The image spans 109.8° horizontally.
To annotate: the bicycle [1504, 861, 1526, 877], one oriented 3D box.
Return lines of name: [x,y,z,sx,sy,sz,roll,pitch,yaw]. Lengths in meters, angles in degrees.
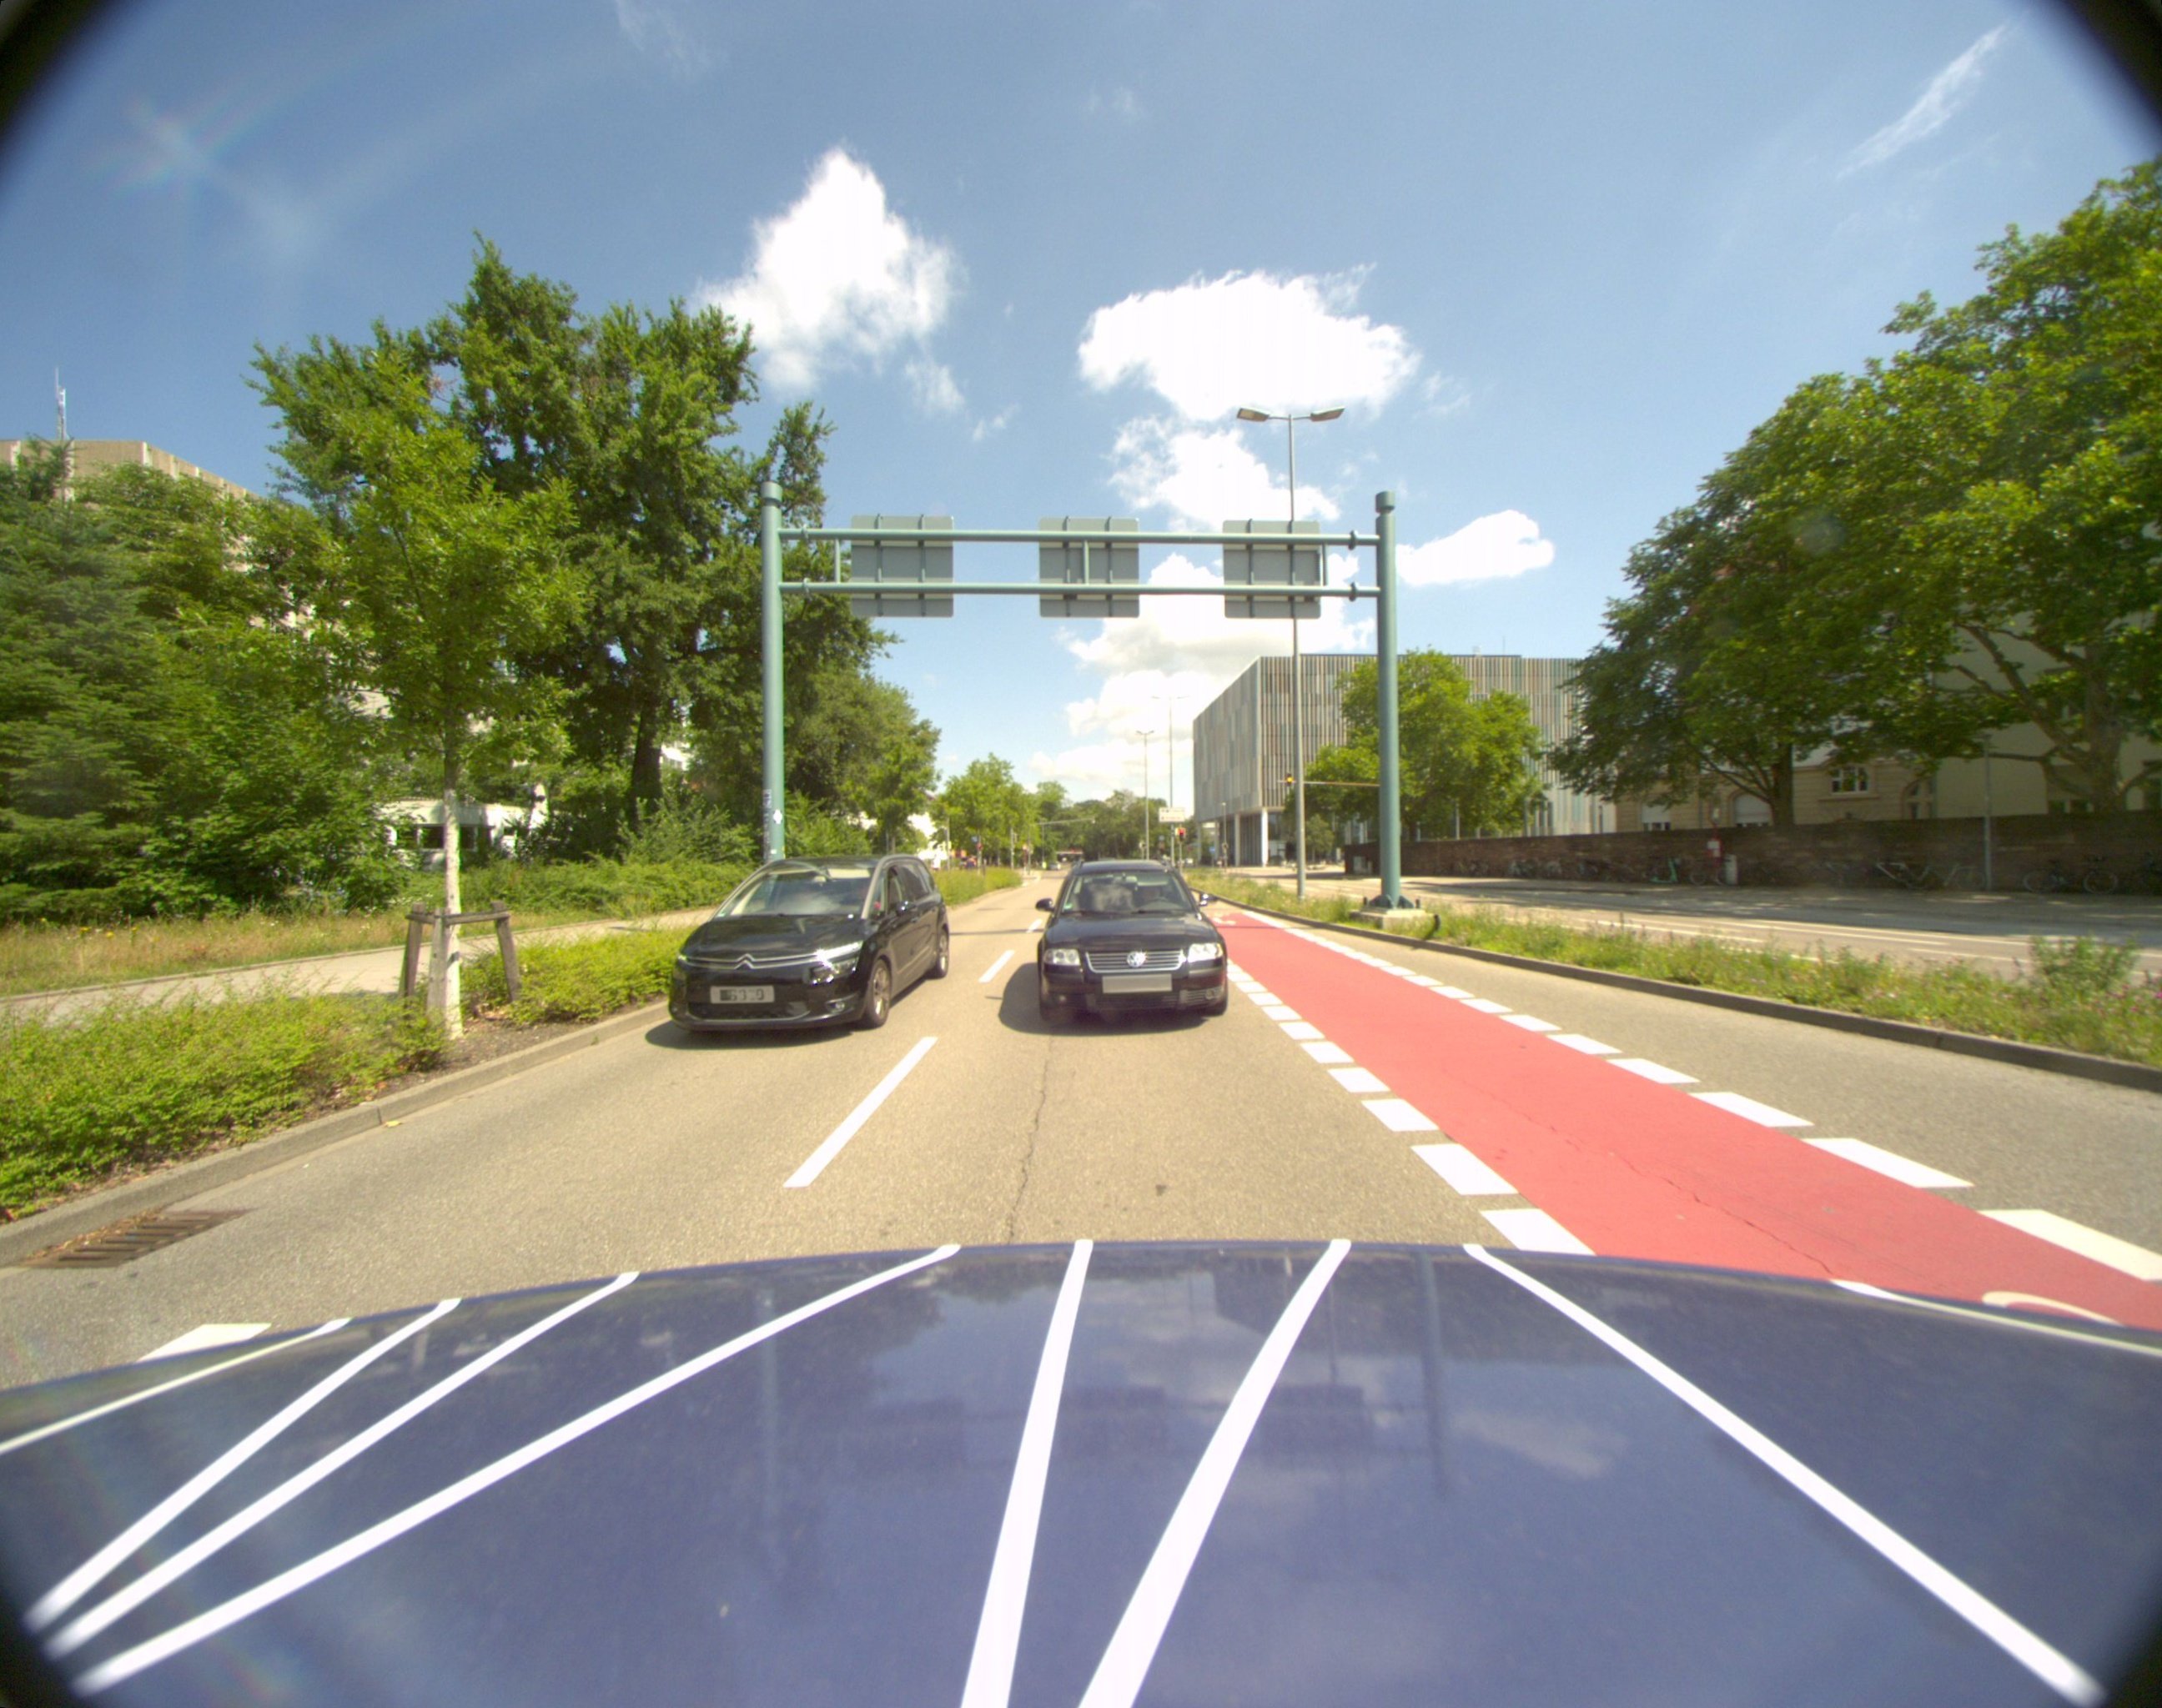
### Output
bicycle: [22.871,0.802,40.083,0.265,0.826,1.234,-1,0,-11]

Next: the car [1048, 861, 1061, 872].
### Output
car: [-4.310,1.954,122.133,1.816,1.598,4.479,-3,0,1]

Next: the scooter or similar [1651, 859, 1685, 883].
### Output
scooter or similar: [24.583,0.704,31.847,0.266,1.014,1.140,-1,0,-22]

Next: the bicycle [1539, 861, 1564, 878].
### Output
bicycle: [23.226,0.752,37.530,0.265,0.826,1.234,-1,0,-11]

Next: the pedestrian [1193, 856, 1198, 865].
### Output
pedestrian: [18.579,1.005,123.110,0.696,1.445,0.689,-1,0,4]

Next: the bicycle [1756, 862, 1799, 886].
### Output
bicycle: [25.196,0.709,27.517,0.265,0.826,1.235,-1,0,-11]

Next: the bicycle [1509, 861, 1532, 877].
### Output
bicycle: [23.368,0.792,40.405,0.265,0.826,1.234,-1,0,-11]

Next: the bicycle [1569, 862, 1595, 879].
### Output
bicycle: [23.857,0.782,36.193,0.265,0.826,1.235,-1,0,-11]

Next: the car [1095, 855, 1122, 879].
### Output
car: [1.947,0.916,54.802,1.723,1.545,4.594,-3,0,1]

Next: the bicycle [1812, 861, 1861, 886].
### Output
bicycle: [25.691,0.648,25.847,0.265,0.826,1.235,-1,0,-11]

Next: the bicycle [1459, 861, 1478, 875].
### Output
bicycle: [22.816,0.817,44.751,0.265,0.826,1.235,-1,0,-11]

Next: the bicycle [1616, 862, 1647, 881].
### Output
bicycle: [24.156,0.773,33.367,0.265,0.826,1.235,-1,0,-11]

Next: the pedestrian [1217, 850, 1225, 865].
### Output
pedestrian: [18.758,0.467,101.967,0.864,2.002,0.995,-1,0,-1]

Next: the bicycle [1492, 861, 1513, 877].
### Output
bicycle: [23.162,0.820,41.800,0.265,0.826,1.234,-1,0,-11]

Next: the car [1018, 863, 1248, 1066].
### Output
car: [0.438,0.887,8.197,1.723,1.472,4.594,-3,0,1]

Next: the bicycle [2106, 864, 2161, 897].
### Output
bicycle: [27.134,0.673,19.343,0.265,0.826,1.234,-1,0,-13]

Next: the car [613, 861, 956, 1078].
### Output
car: [-2.692,0.927,8.187,1.816,1.598,4.479,-3,0,1]

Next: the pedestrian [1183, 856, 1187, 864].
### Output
pedestrian: [17.814,0.999,130.127,0.696,1.445,0.689,-1,0,5]

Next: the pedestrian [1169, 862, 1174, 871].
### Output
pedestrian: [16.127,2.214,135.213,0.864,1.647,0.995,-1,0,-1]

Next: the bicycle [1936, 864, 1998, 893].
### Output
bicycle: [26.249,0.724,22.525,0.265,0.826,1.235,-1,0,-11]

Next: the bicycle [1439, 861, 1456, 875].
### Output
bicycle: [22.499,0.856,46.646,0.265,0.826,1.235,-1,0,-11]

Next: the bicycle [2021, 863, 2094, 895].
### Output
bicycle: [26.637,0.671,20.749,0.265,0.826,1.234,-1,0,-13]

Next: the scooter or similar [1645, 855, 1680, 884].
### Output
scooter or similar: [23.832,0.625,31.156,0.265,1.182,1.234,-1,0,-11]

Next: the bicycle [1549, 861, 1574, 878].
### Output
bicycle: [23.672,0.751,37.466,0.265,0.826,1.235,-1,0,-11]

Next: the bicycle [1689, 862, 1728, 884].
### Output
bicycle: [24.826,0.742,30.077,0.265,0.826,1.233,-1,0,-21]

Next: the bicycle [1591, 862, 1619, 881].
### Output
bicycle: [24.011,0.785,34.828,0.265,0.826,1.235,-1,0,-11]

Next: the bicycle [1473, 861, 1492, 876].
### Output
bicycle: [22.937,0.817,43.427,0.265,0.826,1.234,-1,0,-11]

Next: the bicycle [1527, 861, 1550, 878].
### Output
bicycle: [23.477,0.790,38.994,0.265,0.826,1.235,-1,0,-11]

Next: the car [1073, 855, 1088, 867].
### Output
car: [-0.011,0.897,95.391,1.806,1.361,4.157,-1,1,1]

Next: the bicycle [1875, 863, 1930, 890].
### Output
bicycle: [25.966,0.703,24.032,0.265,0.826,1.235,-1,0,-11]

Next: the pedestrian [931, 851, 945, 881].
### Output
pedestrian: [-9.787,0.834,52.101,0.846,2.026,0.900,-1,0,-16]

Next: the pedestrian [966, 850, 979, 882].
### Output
pedestrian: [-6.186,0.670,43.190,0.639,1.754,0.886,-1,0,-4]
